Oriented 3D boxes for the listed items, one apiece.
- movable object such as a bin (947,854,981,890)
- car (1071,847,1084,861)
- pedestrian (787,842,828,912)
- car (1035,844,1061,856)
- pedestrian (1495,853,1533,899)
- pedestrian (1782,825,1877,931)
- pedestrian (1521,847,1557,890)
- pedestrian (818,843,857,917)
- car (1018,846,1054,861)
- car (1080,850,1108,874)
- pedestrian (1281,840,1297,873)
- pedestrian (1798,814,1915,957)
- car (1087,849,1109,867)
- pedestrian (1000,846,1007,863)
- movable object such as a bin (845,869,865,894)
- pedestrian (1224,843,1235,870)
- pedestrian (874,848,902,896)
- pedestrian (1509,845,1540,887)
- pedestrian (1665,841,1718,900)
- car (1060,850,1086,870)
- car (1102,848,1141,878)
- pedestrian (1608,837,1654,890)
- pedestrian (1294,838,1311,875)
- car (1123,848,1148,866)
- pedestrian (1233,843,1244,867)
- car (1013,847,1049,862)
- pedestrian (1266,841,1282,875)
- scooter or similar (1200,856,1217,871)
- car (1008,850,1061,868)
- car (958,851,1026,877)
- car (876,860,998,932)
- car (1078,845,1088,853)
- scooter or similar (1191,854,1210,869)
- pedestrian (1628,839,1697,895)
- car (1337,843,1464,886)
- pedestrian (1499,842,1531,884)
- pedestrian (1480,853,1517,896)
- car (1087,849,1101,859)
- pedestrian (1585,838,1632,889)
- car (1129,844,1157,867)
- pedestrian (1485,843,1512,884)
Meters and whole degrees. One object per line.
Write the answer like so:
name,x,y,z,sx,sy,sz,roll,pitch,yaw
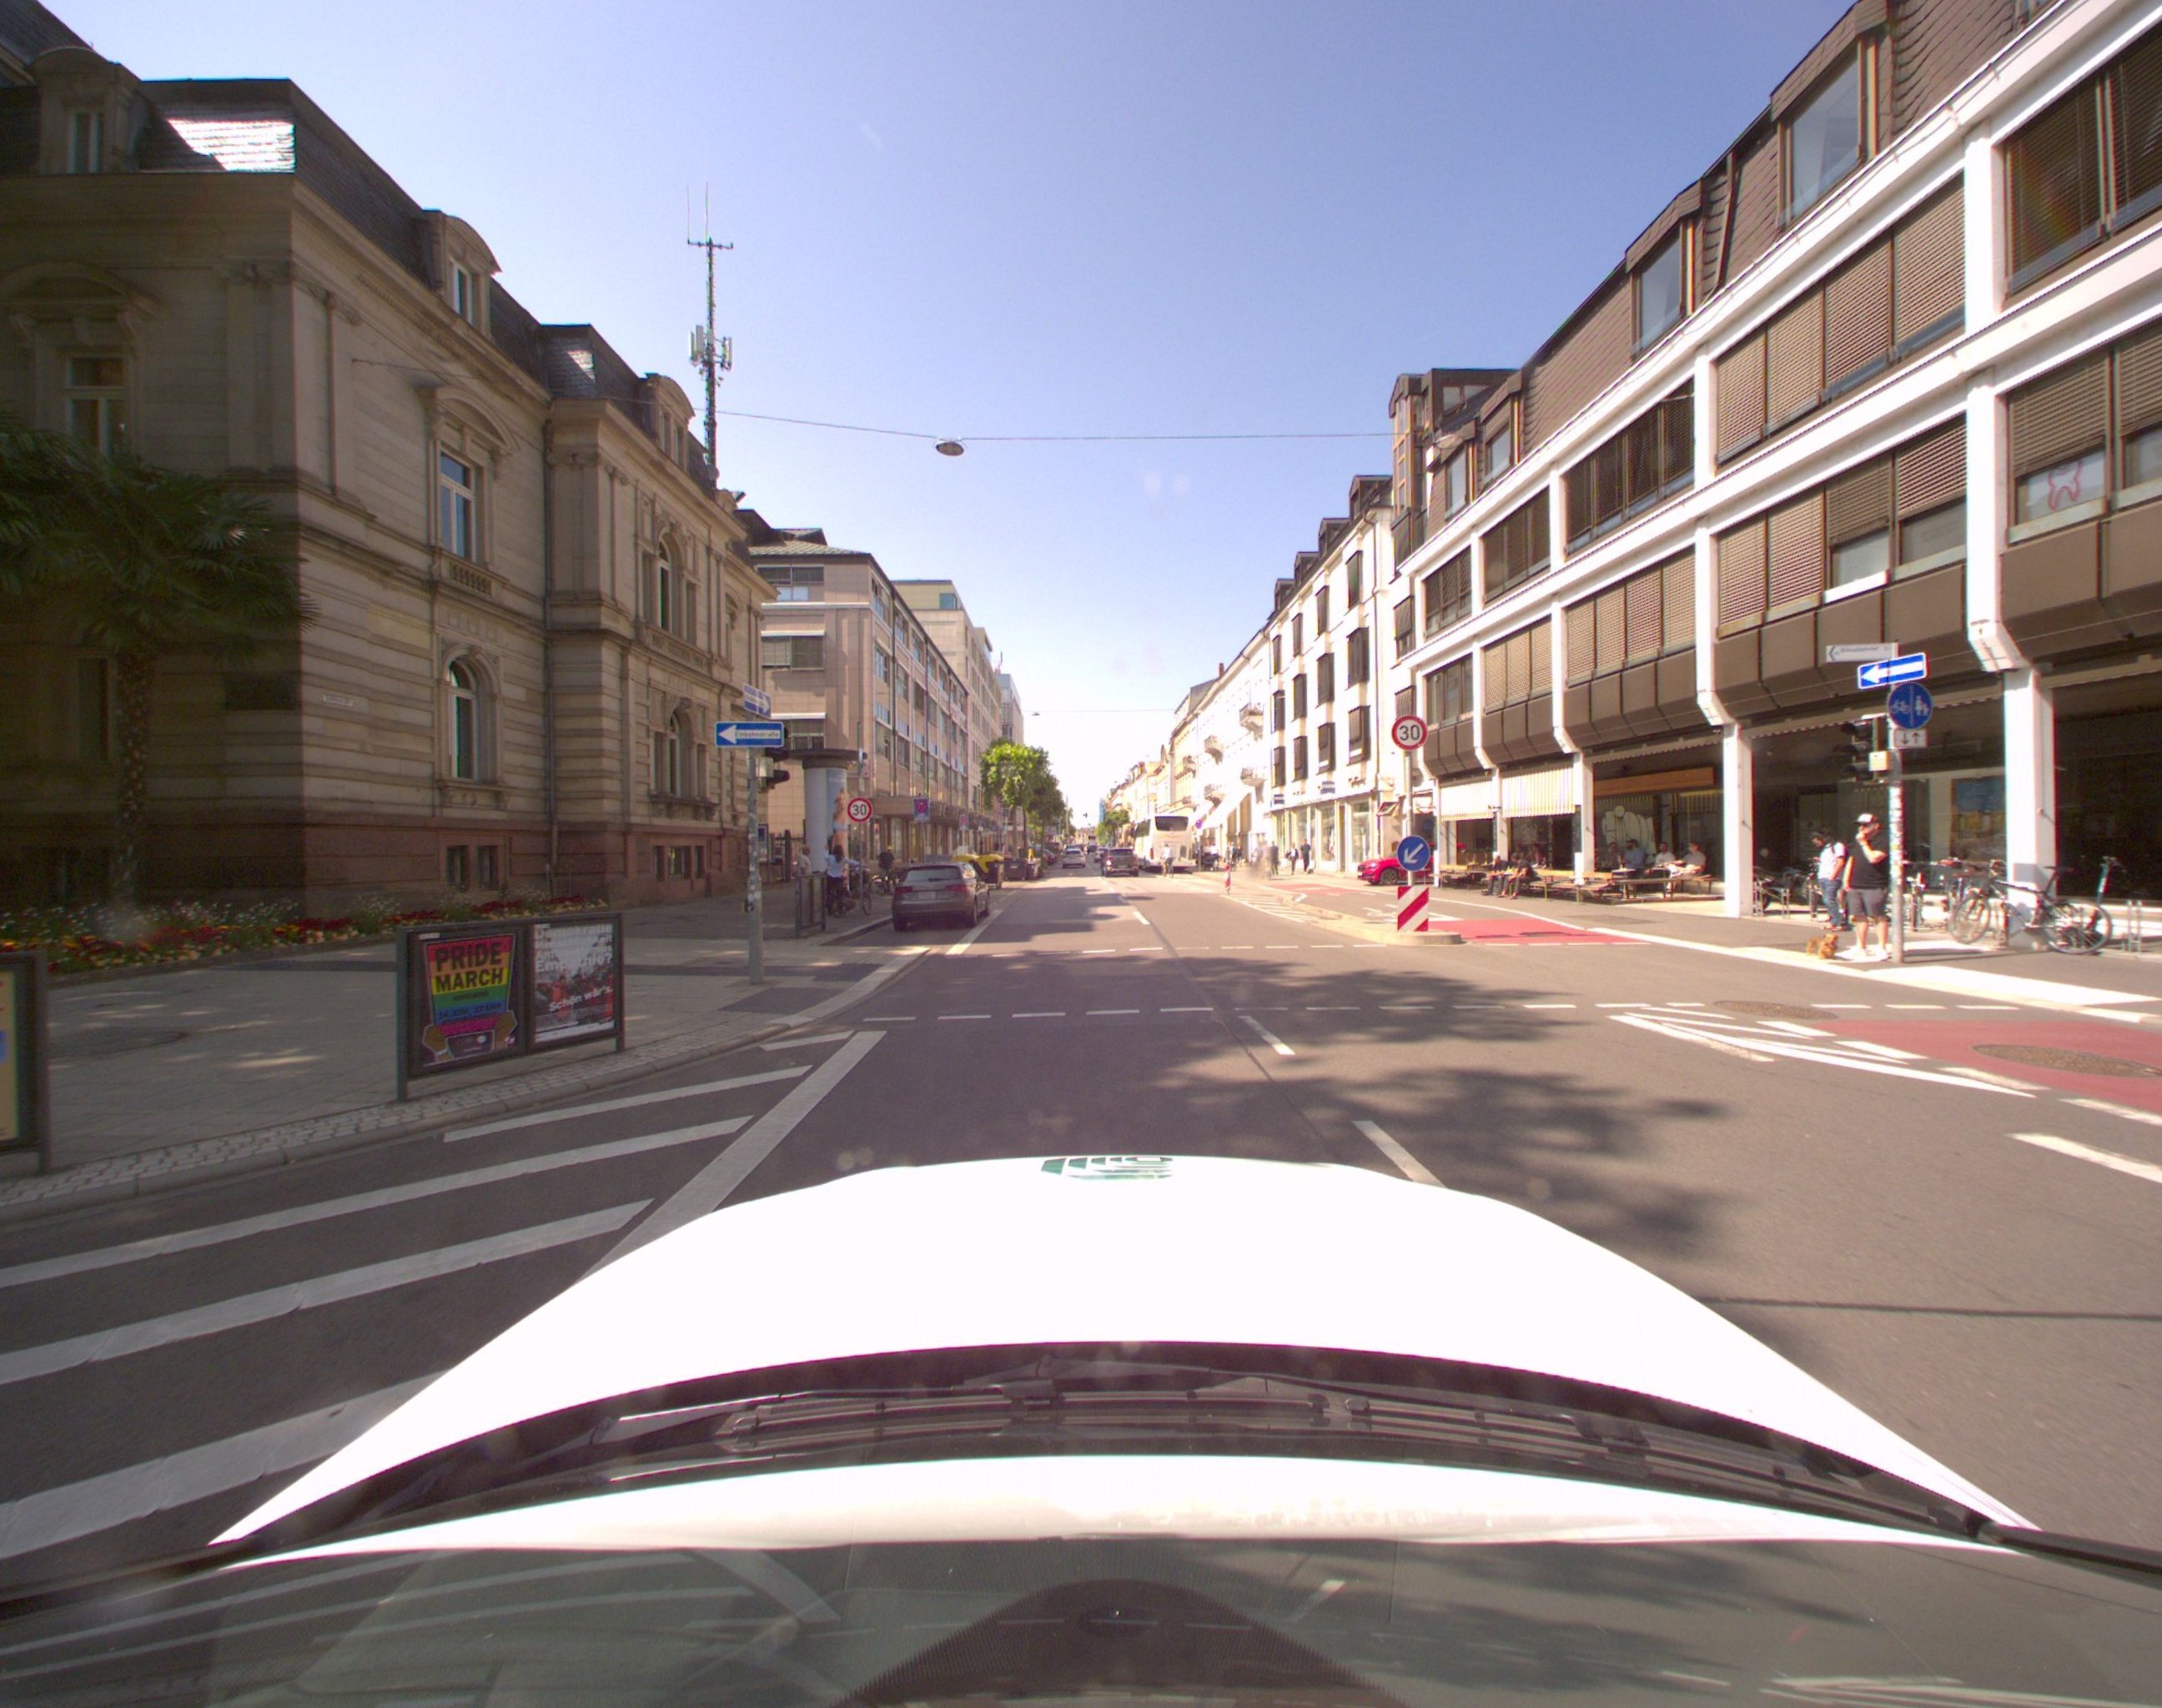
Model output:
movable object such as a bin,-5.006,0.761,34.929,1.118,1.450,1.441,1,1,5
car,-0.584,-0.013,124.328,1.857,2.030,3.998,0,-1,-1
pedestrian,-6.654,0.562,19.848,0.546,1.665,0.939,-1,-1,8
car,-5.986,-0.744,147.648,4.664,2.003,1.953,3,0,40
pedestrian,11.758,0.586,22.136,0.707,1.217,0.698,-1,-1,8
pedestrian,12.224,0.393,13.326,0.828,1.663,0.698,-2,-2,8
pedestrian,14.859,0.451,26.431,0.874,1.367,0.537,-1,0,-2
pedestrian,-5.762,0.613,19.292,0.692,1.695,0.691,-1,-1,2
car,-5.540,-0.071,100.468,3.952,1.568,1.709,4,1,24
car,0.920,0.585,57.741,1.827,1.527,4.000,-2,-1,1
pedestrian,10.576,0.120,41.400,0.690,1.685,0.837,-1,0,8
pedestrian,10.300,0.418,10.850,0.828,1.836,0.698,-1,-1,8
car,1.555,0.372,76.399,1.828,1.527,3.998,-2,-1,-1
pedestrian,-7.528,0.082,79.106,0.565,1.657,0.635,-1,0,-8
movable object such as a bin,-8.261,1.012,29.783,0.654,0.876,0.510,-1,-2,-8
pedestrian,10.086,0.173,55.473,0.571,1.778,1.020,-1,-1,2
pedestrian,-7.159,0.656,30.234,0.888,1.725,0.746,0,0,-7
pedestrian,14.641,0.388,26.887,0.759,1.367,0.478,-1,0,-2
pedestrian,14.684,0.393,19.599,0.709,1.396,0.696,-1,-1,-2
car,-0.637,0.461,63.759,1.858,1.441,3.996,-2,0,-3
car,2.128,0.485,43.720,1.828,1.527,3.998,0,0,-1
pedestrian,14.661,0.256,21.709,0.709,1.396,0.696,-1,-1,-2
pedestrian,11.210,0.121,41.180,0.690,1.851,0.837,-1,-1,8
car,5.063,0.264,75.768,1.809,1.466,4.576,1,1,-3
pedestrian,10.869,0.098,56.176,0.643,1.617,0.822,-1,-1,2
car,-5.800,0.018,94.071,3.980,1.500,1.715,3,0,-5
pedestrian,9.850,0.219,41.646,0.618,1.720,0.836,-1,-1,2
scooter or similar,7.914,0.586,50.583,0.863,0.957,1.212,0,0,-2
car,-4.166,0.448,72.757,4.736,1.422,1.895,2,1,40
car,-5.506,0.599,50.181,4.006,1.494,1.948,1,1,41
car,-3.156,0.875,18.716,1.930,1.354,4.250,-1,1,1
car,0.400,-0.926,163.880,1.857,1.441,3.998,-2,-1,-1
scooter or similar,8.480,0.524,57.888,1.118,1.102,1.084,0,0,-2
pedestrian,14.658,0.325,20.561,0.893,1.351,1.104,-1,-1,-1
car,11.898,0.408,30.555,4.030,1.495,1.842,-1,-2,1
pedestrian,14.622,0.301,27.425,0.742,1.367,0.584,-1,0,-2
pedestrian,11.783,0.585,22.994,0.707,1.173,0.698,-1,-1,8
car,1.981,-0.001,125.036,1.857,1.441,3.998,-1,1,-1
pedestrian,14.590,0.263,22.549,0.811,1.396,0.696,-1,-1,-3
car,5.295,0.118,70.314,1.823,1.863,4.348,1,1,-4
pedestrian,14.123,0.319,27.540,0.533,1.367,0.689,-1,0,0
